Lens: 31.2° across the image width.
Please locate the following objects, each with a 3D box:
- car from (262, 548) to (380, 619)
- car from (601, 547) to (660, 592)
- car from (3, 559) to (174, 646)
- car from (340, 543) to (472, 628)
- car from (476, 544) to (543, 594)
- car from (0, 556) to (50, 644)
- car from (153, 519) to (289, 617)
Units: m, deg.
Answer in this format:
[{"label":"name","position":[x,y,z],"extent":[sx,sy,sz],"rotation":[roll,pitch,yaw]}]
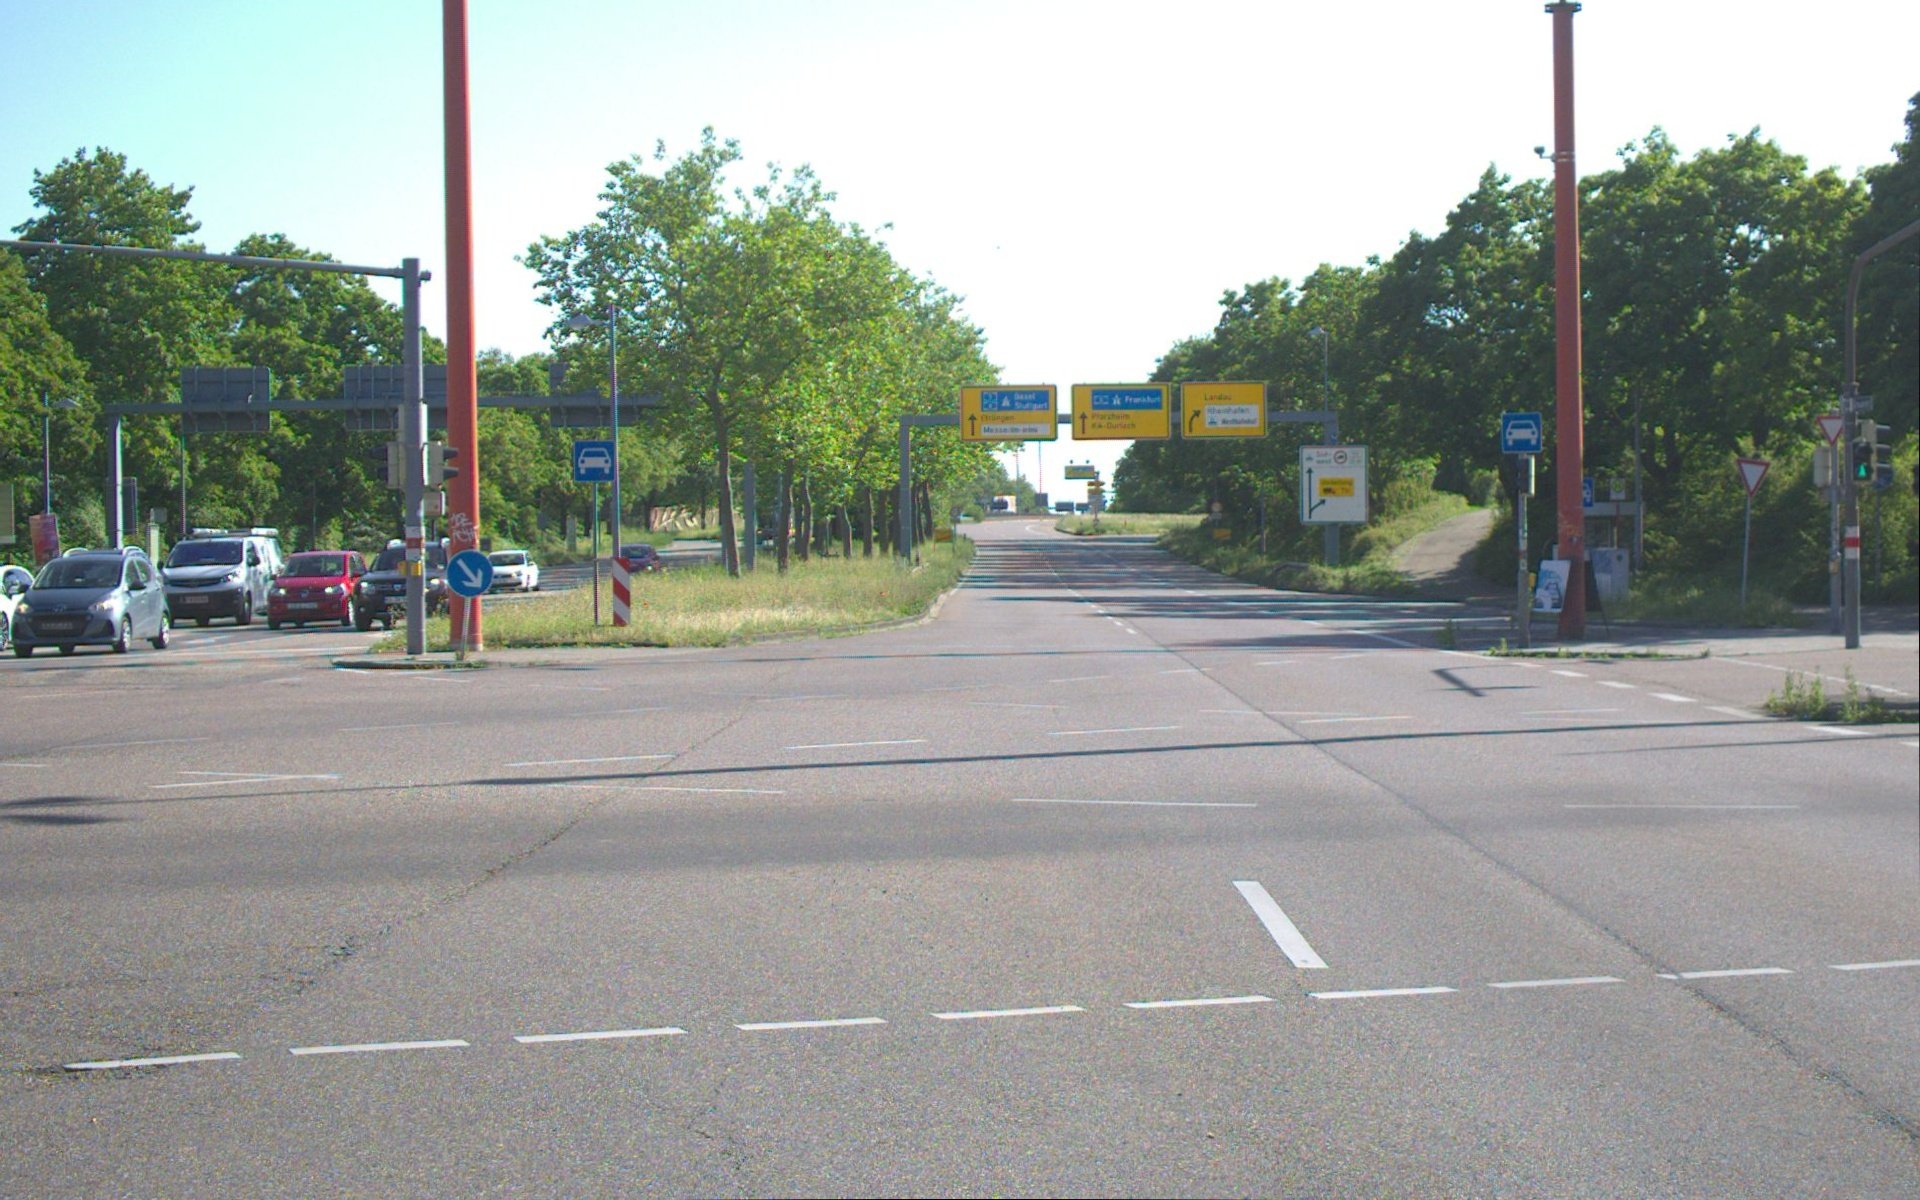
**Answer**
[{"label":"car","position":[-12.607,-0.347,67.993],"extent":[1.739,1.357,3.613],"rotation":[-1,1,-1]},{"label":"car","position":[-12.207,-1.152,127.462],"extent":[1.819,1.623,4.000],"rotation":[-1,1,-1]},{"label":"car","position":[-13.114,0.019,51.912],"extent":[1.739,1.239,3.613],"rotation":[-1,1,-1]},{"label":"car","position":[-10.227,-0.296,63.719],"extent":[1.819,1.503,4.000],"rotation":[-1,1,-1]},{"label":"car","position":[-15.439,-1.077,117.874],"extent":[1.797,1.634,4.000],"rotation":[-1,1,-1]},{"label":"car","position":[-16.422,-0.013,57.057],"extent":[1.739,1.406,3.613],"rotation":[-1,1,-1]},{"label":"car","position":[-15.796,-0.712,73.702],"extent":[1.893,2.019,5.224],"rotation":[0,1,-1]}]
